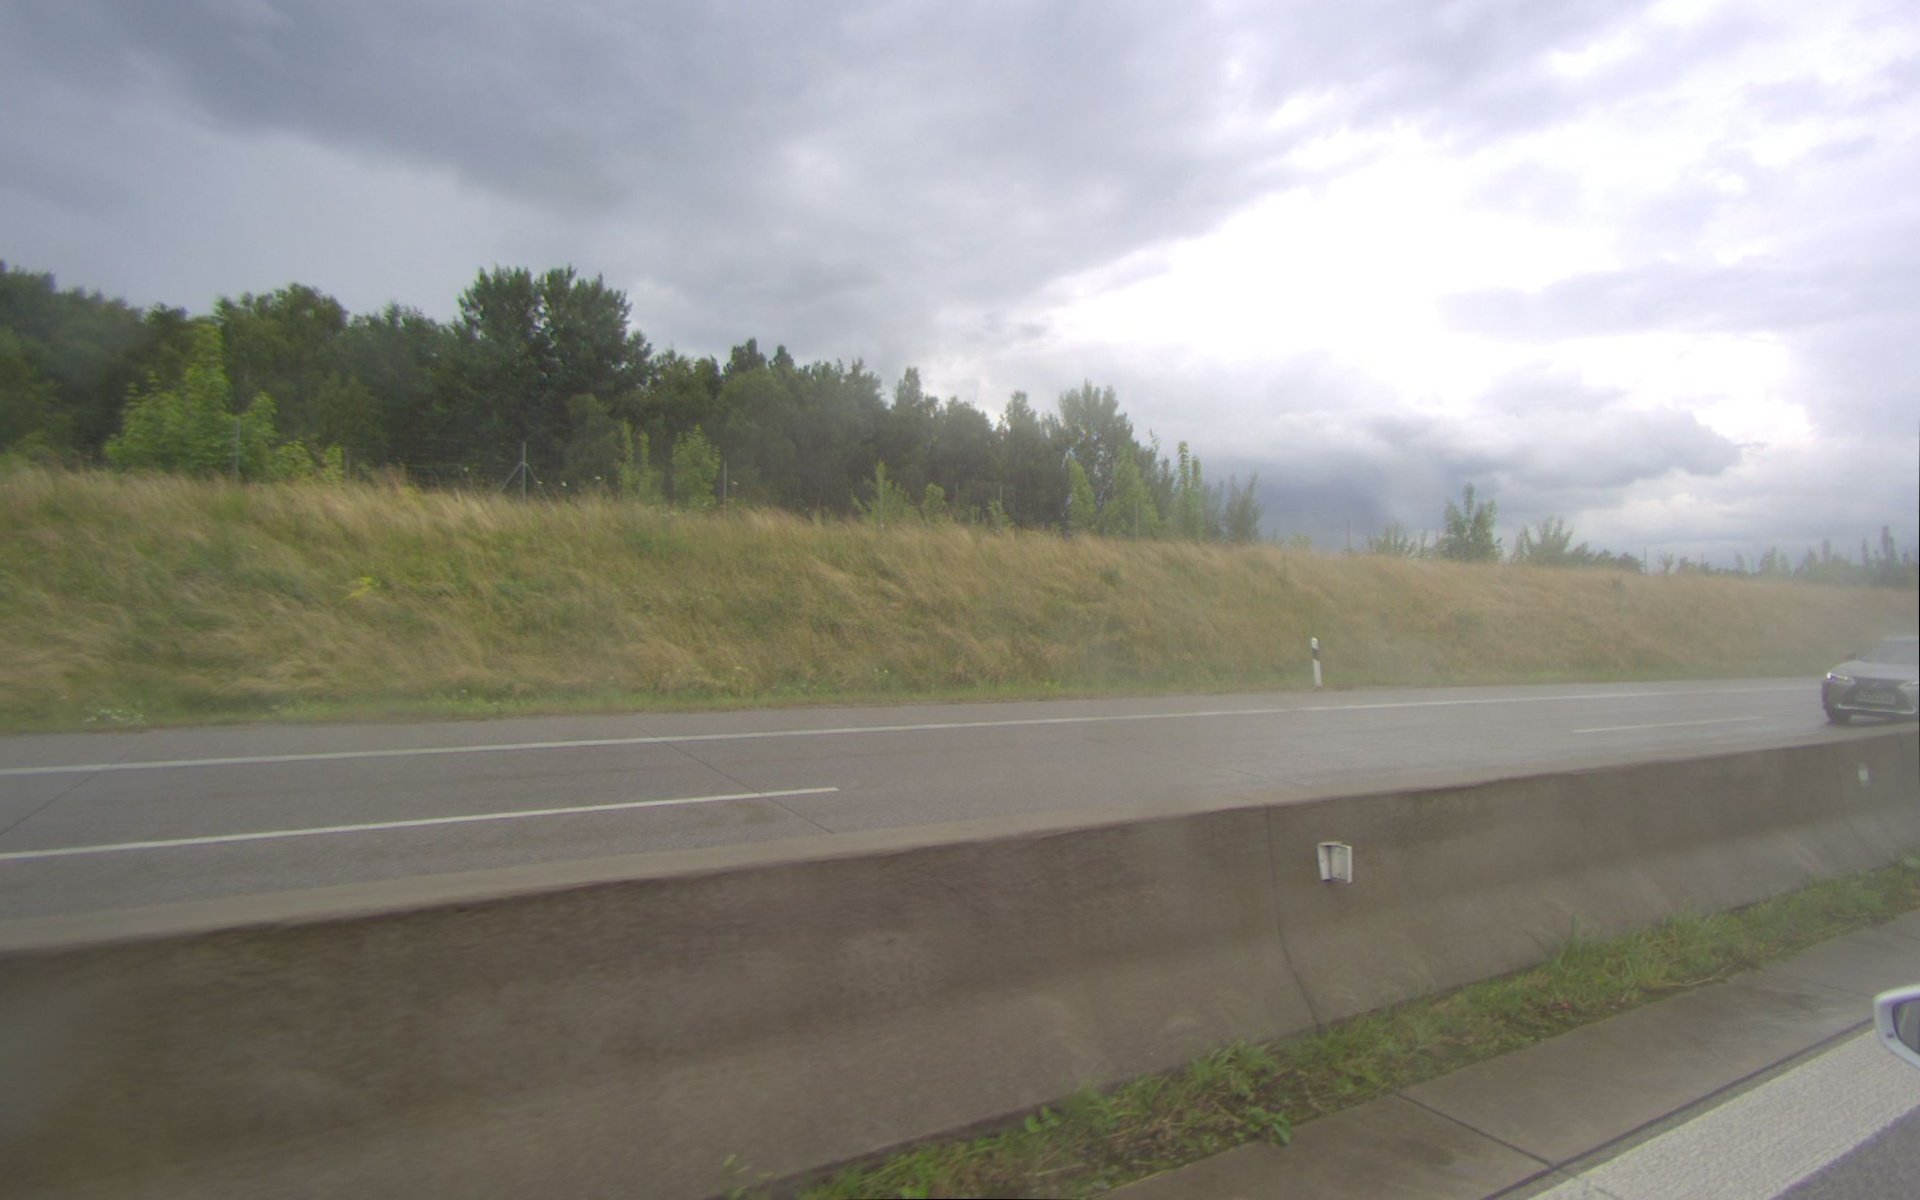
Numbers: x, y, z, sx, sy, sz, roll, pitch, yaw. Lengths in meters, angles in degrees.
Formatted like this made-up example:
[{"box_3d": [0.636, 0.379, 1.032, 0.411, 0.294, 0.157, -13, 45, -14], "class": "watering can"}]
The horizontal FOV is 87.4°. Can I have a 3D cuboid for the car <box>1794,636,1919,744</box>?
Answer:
[{"box_3d": [16.482, 1.460, 17.244, 4.138, 1.539, 1.985, -1, -1, -30], "class": "car"}]
